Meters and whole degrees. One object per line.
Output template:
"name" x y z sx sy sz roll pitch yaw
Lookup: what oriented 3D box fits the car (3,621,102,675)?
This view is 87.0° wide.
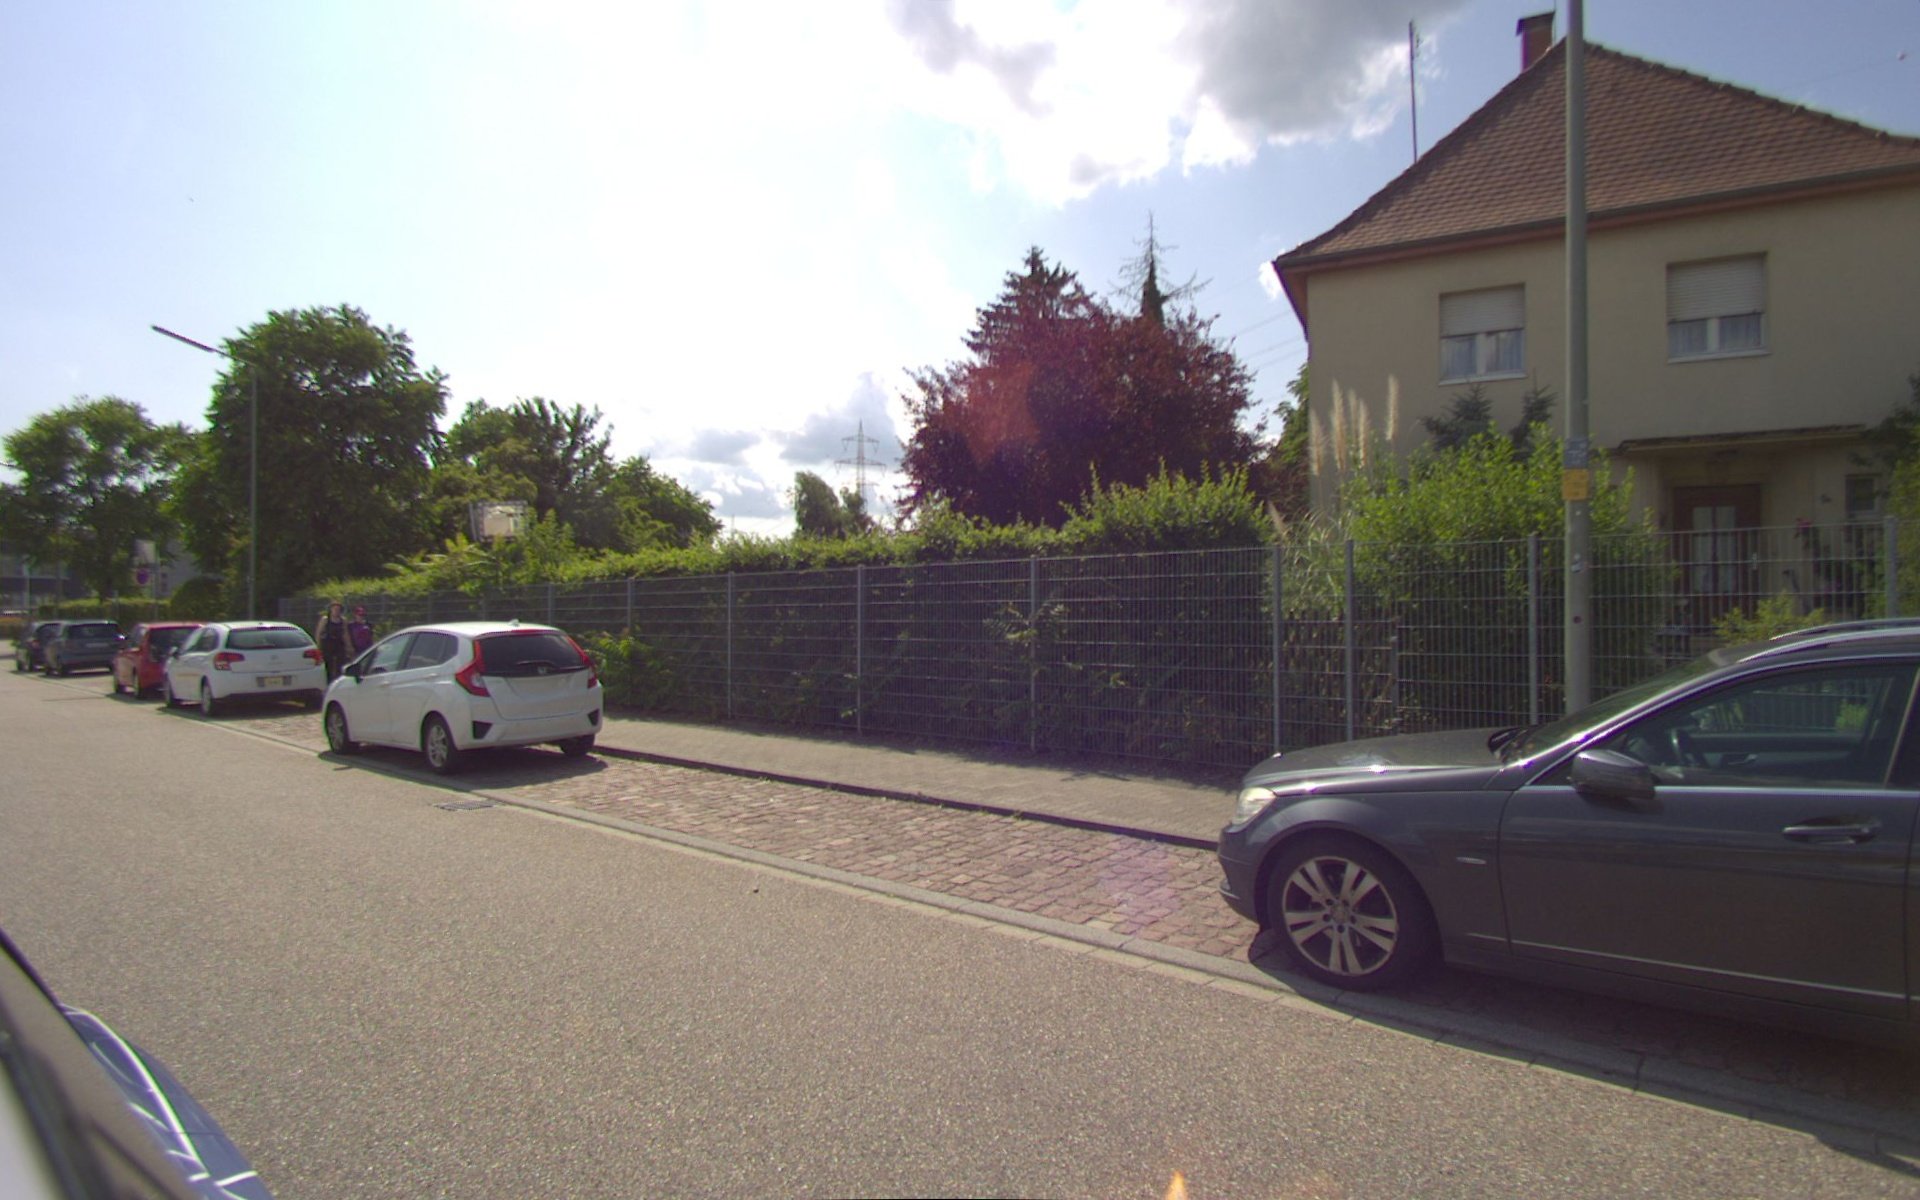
"car" -28.819 1.479 32.097 3.998 1.519 1.826 -1 1 41

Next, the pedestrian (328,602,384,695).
"pedestrian" -12.051 0.946 20.179 0.915 1.814 0.700 -1 -1 41

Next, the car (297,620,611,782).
"car" -5.881 1.009 11.559 4.170 1.534 1.604 -1 -2 39

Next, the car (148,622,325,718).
"car" -12.766 1.136 17.774 4.026 1.488 1.628 -1 -1 41

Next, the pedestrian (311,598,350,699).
"pedestrian" -12.111 0.920 19.468 0.677 1.908 0.446 -1 -1 41

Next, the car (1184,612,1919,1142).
"car" 3.245 0.785 3.520 4.493 1.429 1.787 -1 0 40

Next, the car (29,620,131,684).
"car" -25.258 1.444 29.014 3.270 1.657 1.634 -1 1 39

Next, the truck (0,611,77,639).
"truck" -91.475 2.443 99.515 2.382 2.678 6.902 -1 -1 14

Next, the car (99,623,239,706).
"car" -16.320 1.250 20.821 3.743 1.478 1.648 -1 0 42
